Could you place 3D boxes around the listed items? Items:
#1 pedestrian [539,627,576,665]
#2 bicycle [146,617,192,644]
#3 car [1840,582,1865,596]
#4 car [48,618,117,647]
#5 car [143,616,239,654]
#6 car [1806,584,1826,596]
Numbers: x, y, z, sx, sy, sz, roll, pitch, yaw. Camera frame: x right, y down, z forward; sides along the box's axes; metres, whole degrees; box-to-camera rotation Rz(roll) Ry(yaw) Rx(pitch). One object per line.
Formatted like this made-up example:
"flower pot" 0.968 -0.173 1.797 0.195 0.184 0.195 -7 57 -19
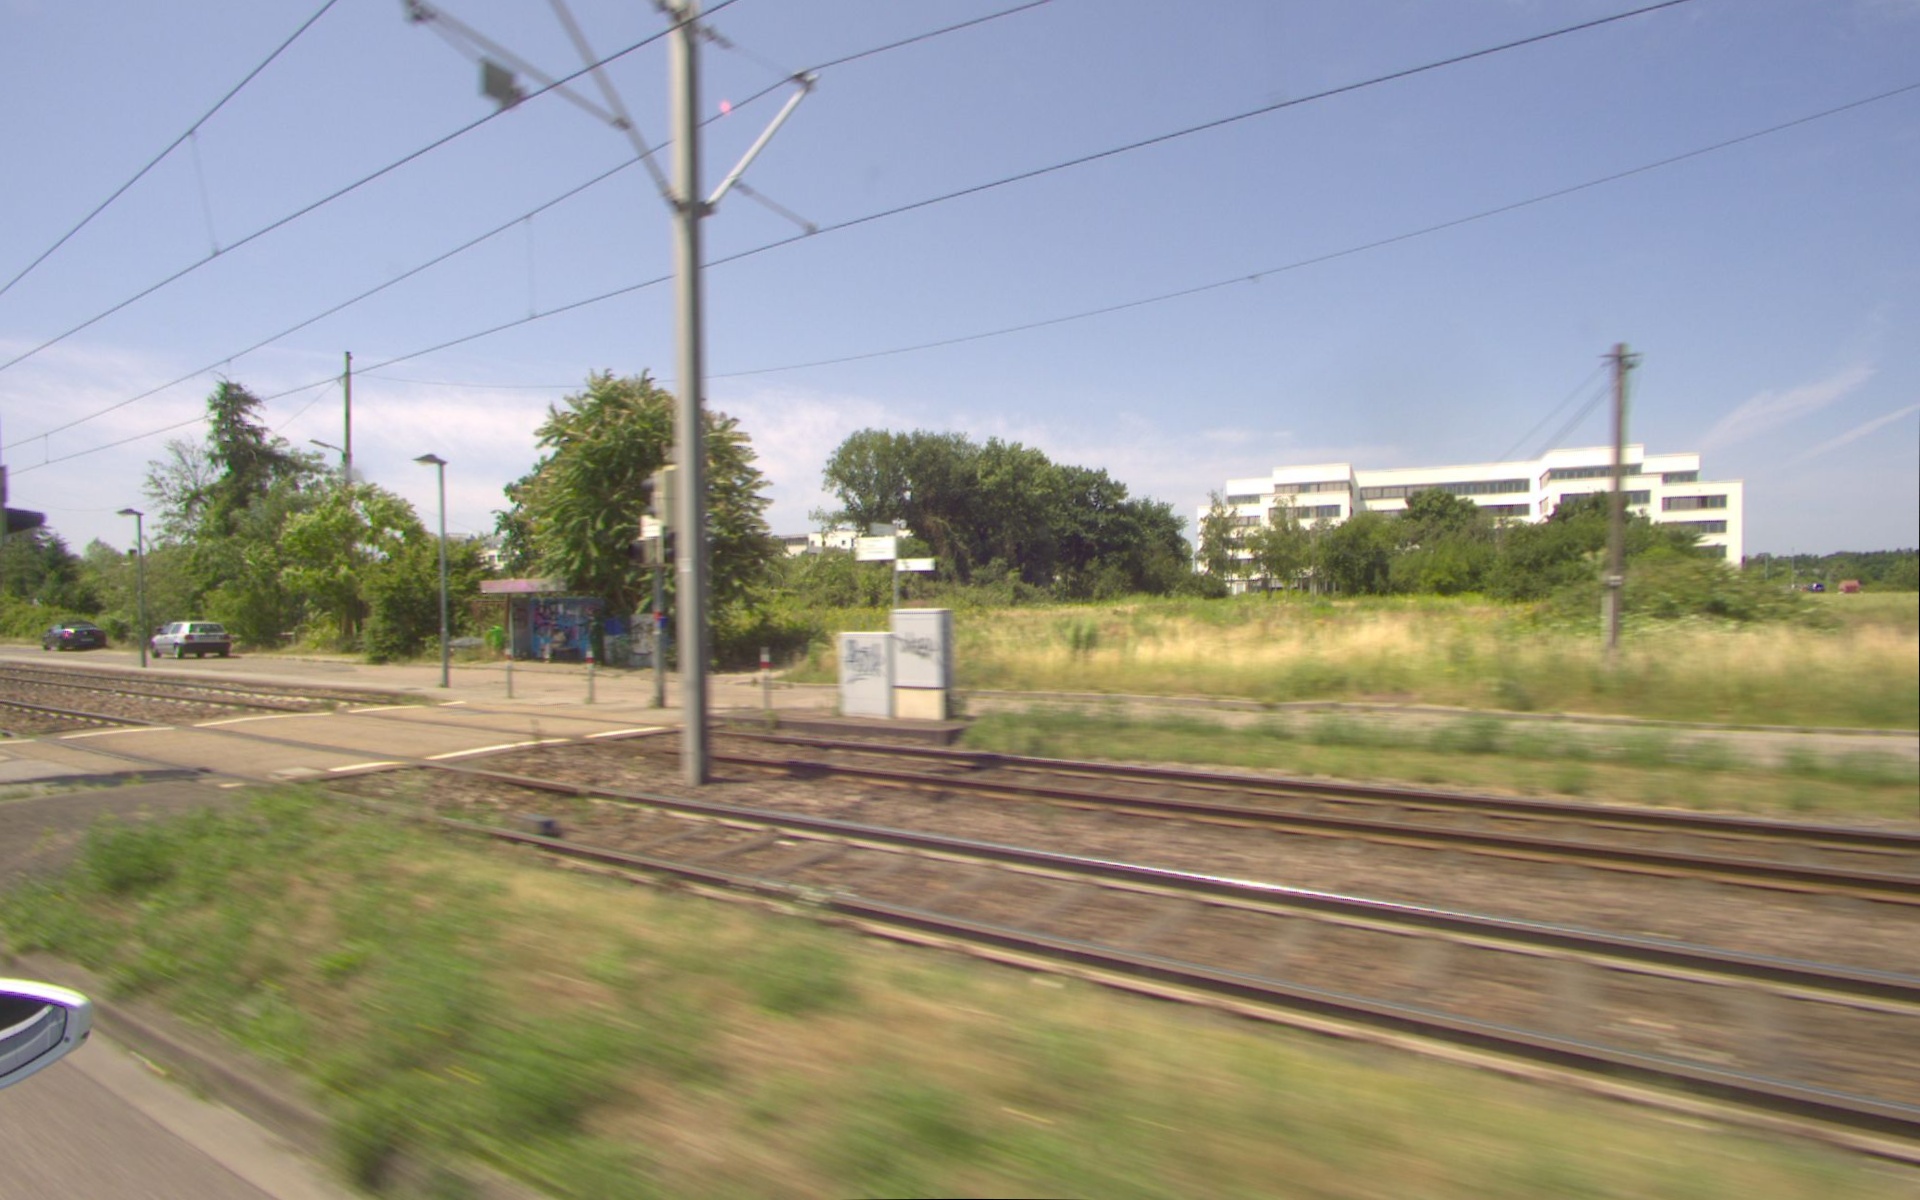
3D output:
"pedestrian" -11.929 1.357 29.663 0.711 1.101 0.805 0 0 42
"bicycle" -38.505 1.472 48.742 1.647 1.286 0.704 0 1 1
"car" 133.870 -1.627 150.229 1.837 1.940 4.666 0 -1 29
"car" -44.589 1.622 50.854 4.808 1.440 1.615 -1 -1 36
"car" -30.114 1.343 39.191 3.946 1.440 1.934 -1 -1 35
"car" 141.818 -1.708 165.916 1.737 1.842 4.201 0 -1 28
